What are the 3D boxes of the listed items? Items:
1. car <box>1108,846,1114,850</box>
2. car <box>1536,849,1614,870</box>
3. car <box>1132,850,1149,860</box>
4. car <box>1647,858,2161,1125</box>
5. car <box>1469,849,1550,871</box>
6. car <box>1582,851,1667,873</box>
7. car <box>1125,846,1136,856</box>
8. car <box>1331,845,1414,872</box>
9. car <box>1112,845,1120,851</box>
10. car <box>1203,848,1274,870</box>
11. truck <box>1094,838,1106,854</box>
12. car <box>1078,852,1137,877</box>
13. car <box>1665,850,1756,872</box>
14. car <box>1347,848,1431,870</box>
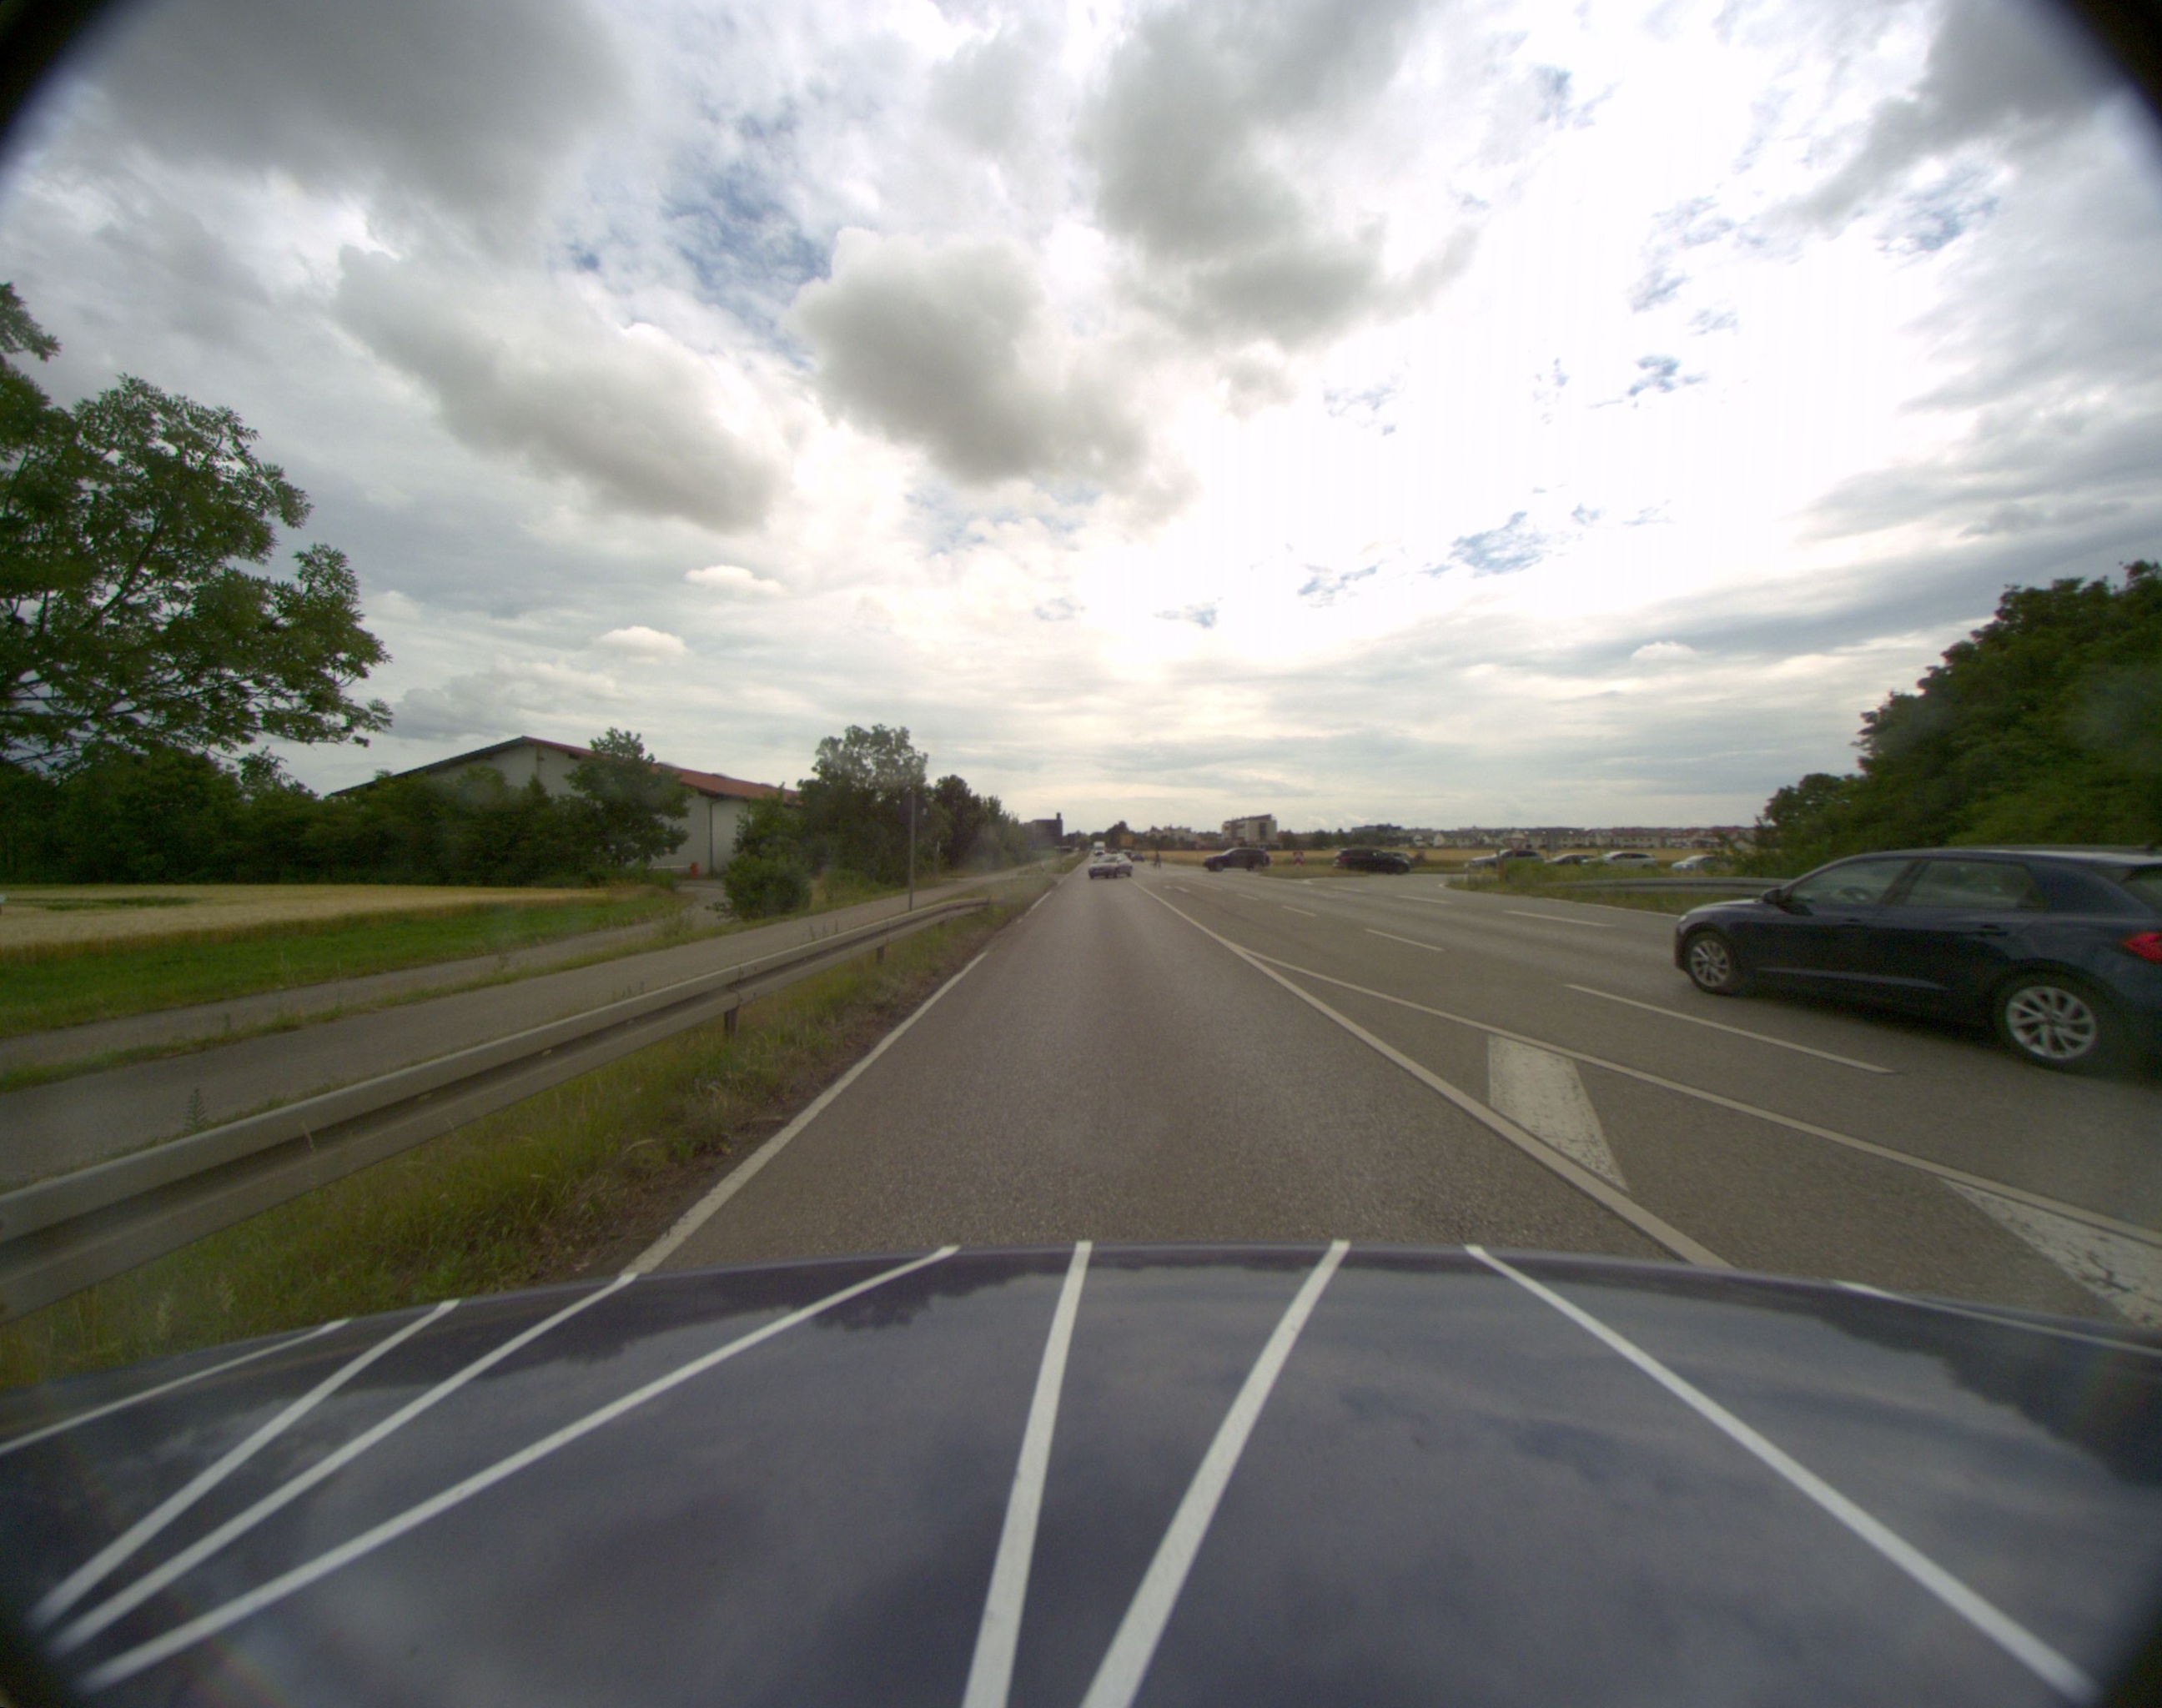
[{"bbox_3d":[10.180,-2.146,258.002,1.740,1.450,4.131,-1,1,0],"label":"car"},{"bbox_3d":[36.052,0.386,55.569,4.406,1.474,1.912,0,1,7],"label":"car"},{"bbox_3d":[8.514,0.078,108.986,2.170,1.277,4.237,-2,1,1],"label":"car"},{"bbox_3d":[6.781,0.749,5.883,1.867,1.368,4.000,-1,0,1],"label":"car"},{"bbox_3d":[30.360,0.441,53.992,4.632,1.508,1.912,0,1,7],"label":"car"},{"bbox_3d":[37.863,0.535,53.039,4.499,1.474,1.912,0,1,7],"label":"car"},{"bbox_3d":[8.366,-0.540,127.554,1.746,1.521,4.199,-2,0,3],"label":"car"},{"bbox_3d":[17.958,0.247,46.948,4.477,1.602,1.708,0,1,4],"label":"car"},{"bbox_3d":[8.750,-1.534,190.961,1.683,1.512,4.395,-2,1,1],"label":"car"},{"bbox_3d":[11.383,0.330,55.132,4.753,1.523,1.910,-1,1,-4],"label":"car"},{"bbox_3d":[4.444,-1.847,176.100,2.813,3.588,11.219,0,1,2],"label":"truck"},{"bbox_3d":[1.712,0.613,46.967,1.906,1.416,4.473,0,1,28],"label":"car"},{"bbox_3d":[43.420,0.455,52.497,4.499,1.474,1.912,0,1,7],"label":"car"},{"bbox_3d":[22.231,0.362,55.023,5.295,1.512,1.912,0,1,7],"label":"car"}]
